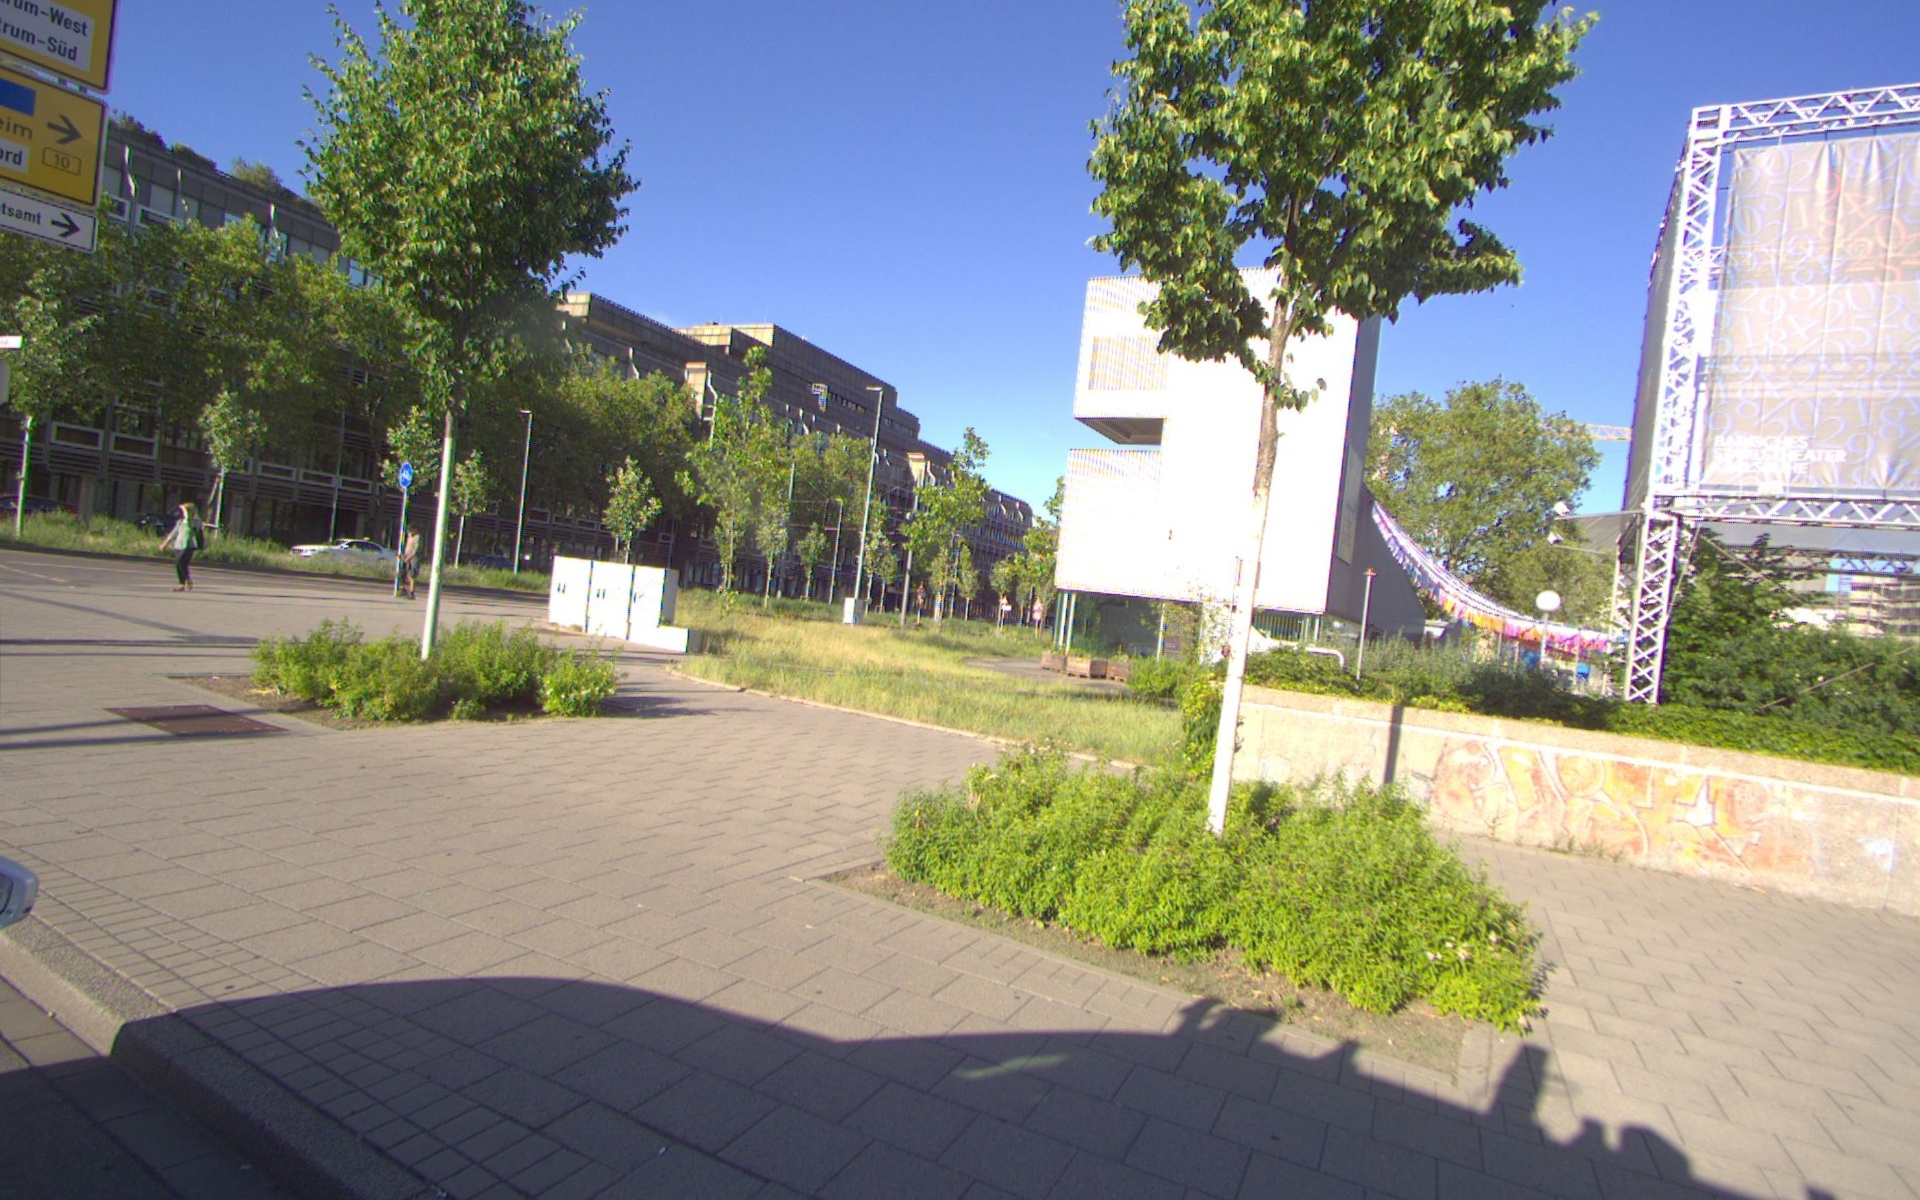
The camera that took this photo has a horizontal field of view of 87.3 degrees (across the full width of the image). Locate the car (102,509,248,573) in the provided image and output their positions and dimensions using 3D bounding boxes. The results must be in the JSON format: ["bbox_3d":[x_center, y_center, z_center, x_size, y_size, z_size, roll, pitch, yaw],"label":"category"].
[{"bbox_3d":[-34.116,-2.528,43.879,1.965,2.036,4.458,7,-2,27],"label":"car"}]

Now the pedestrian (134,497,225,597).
[{"bbox_3d":[-14.166,-0.948,18.270,0.925,1.650,0.803,7,1,18],"label":"pedestrian"}]

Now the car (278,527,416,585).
[{"bbox_3d":[-30.680,-2.180,50.583,2.062,2.036,5.455,6,-2,29],"label":"car"}]

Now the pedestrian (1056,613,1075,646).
[{"bbox_3d":[5.946,1.659,56.605,0.641,1.750,0.695,7,1,26],"label":"pedestrian"}]

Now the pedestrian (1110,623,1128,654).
[{"bbox_3d":[9.508,2.314,60.227,0.772,1.750,0.625,7,1,0],"label":"pedestrian"}]

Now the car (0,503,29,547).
[{"bbox_3d":[-37.248,-3.043,36.942,1.836,1.525,3.997,7,-2,29],"label":"car"}]

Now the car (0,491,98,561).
[{"bbox_3d":[-33.318,-2.711,35.372,1.966,2.036,3.997,6,-2,29],"label":"car"}]

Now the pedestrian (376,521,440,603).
[{"bbox_3d":[-12.659,-0.858,23.080,0.925,1.750,0.695,7,1,18],"label":"pedestrian"}]
